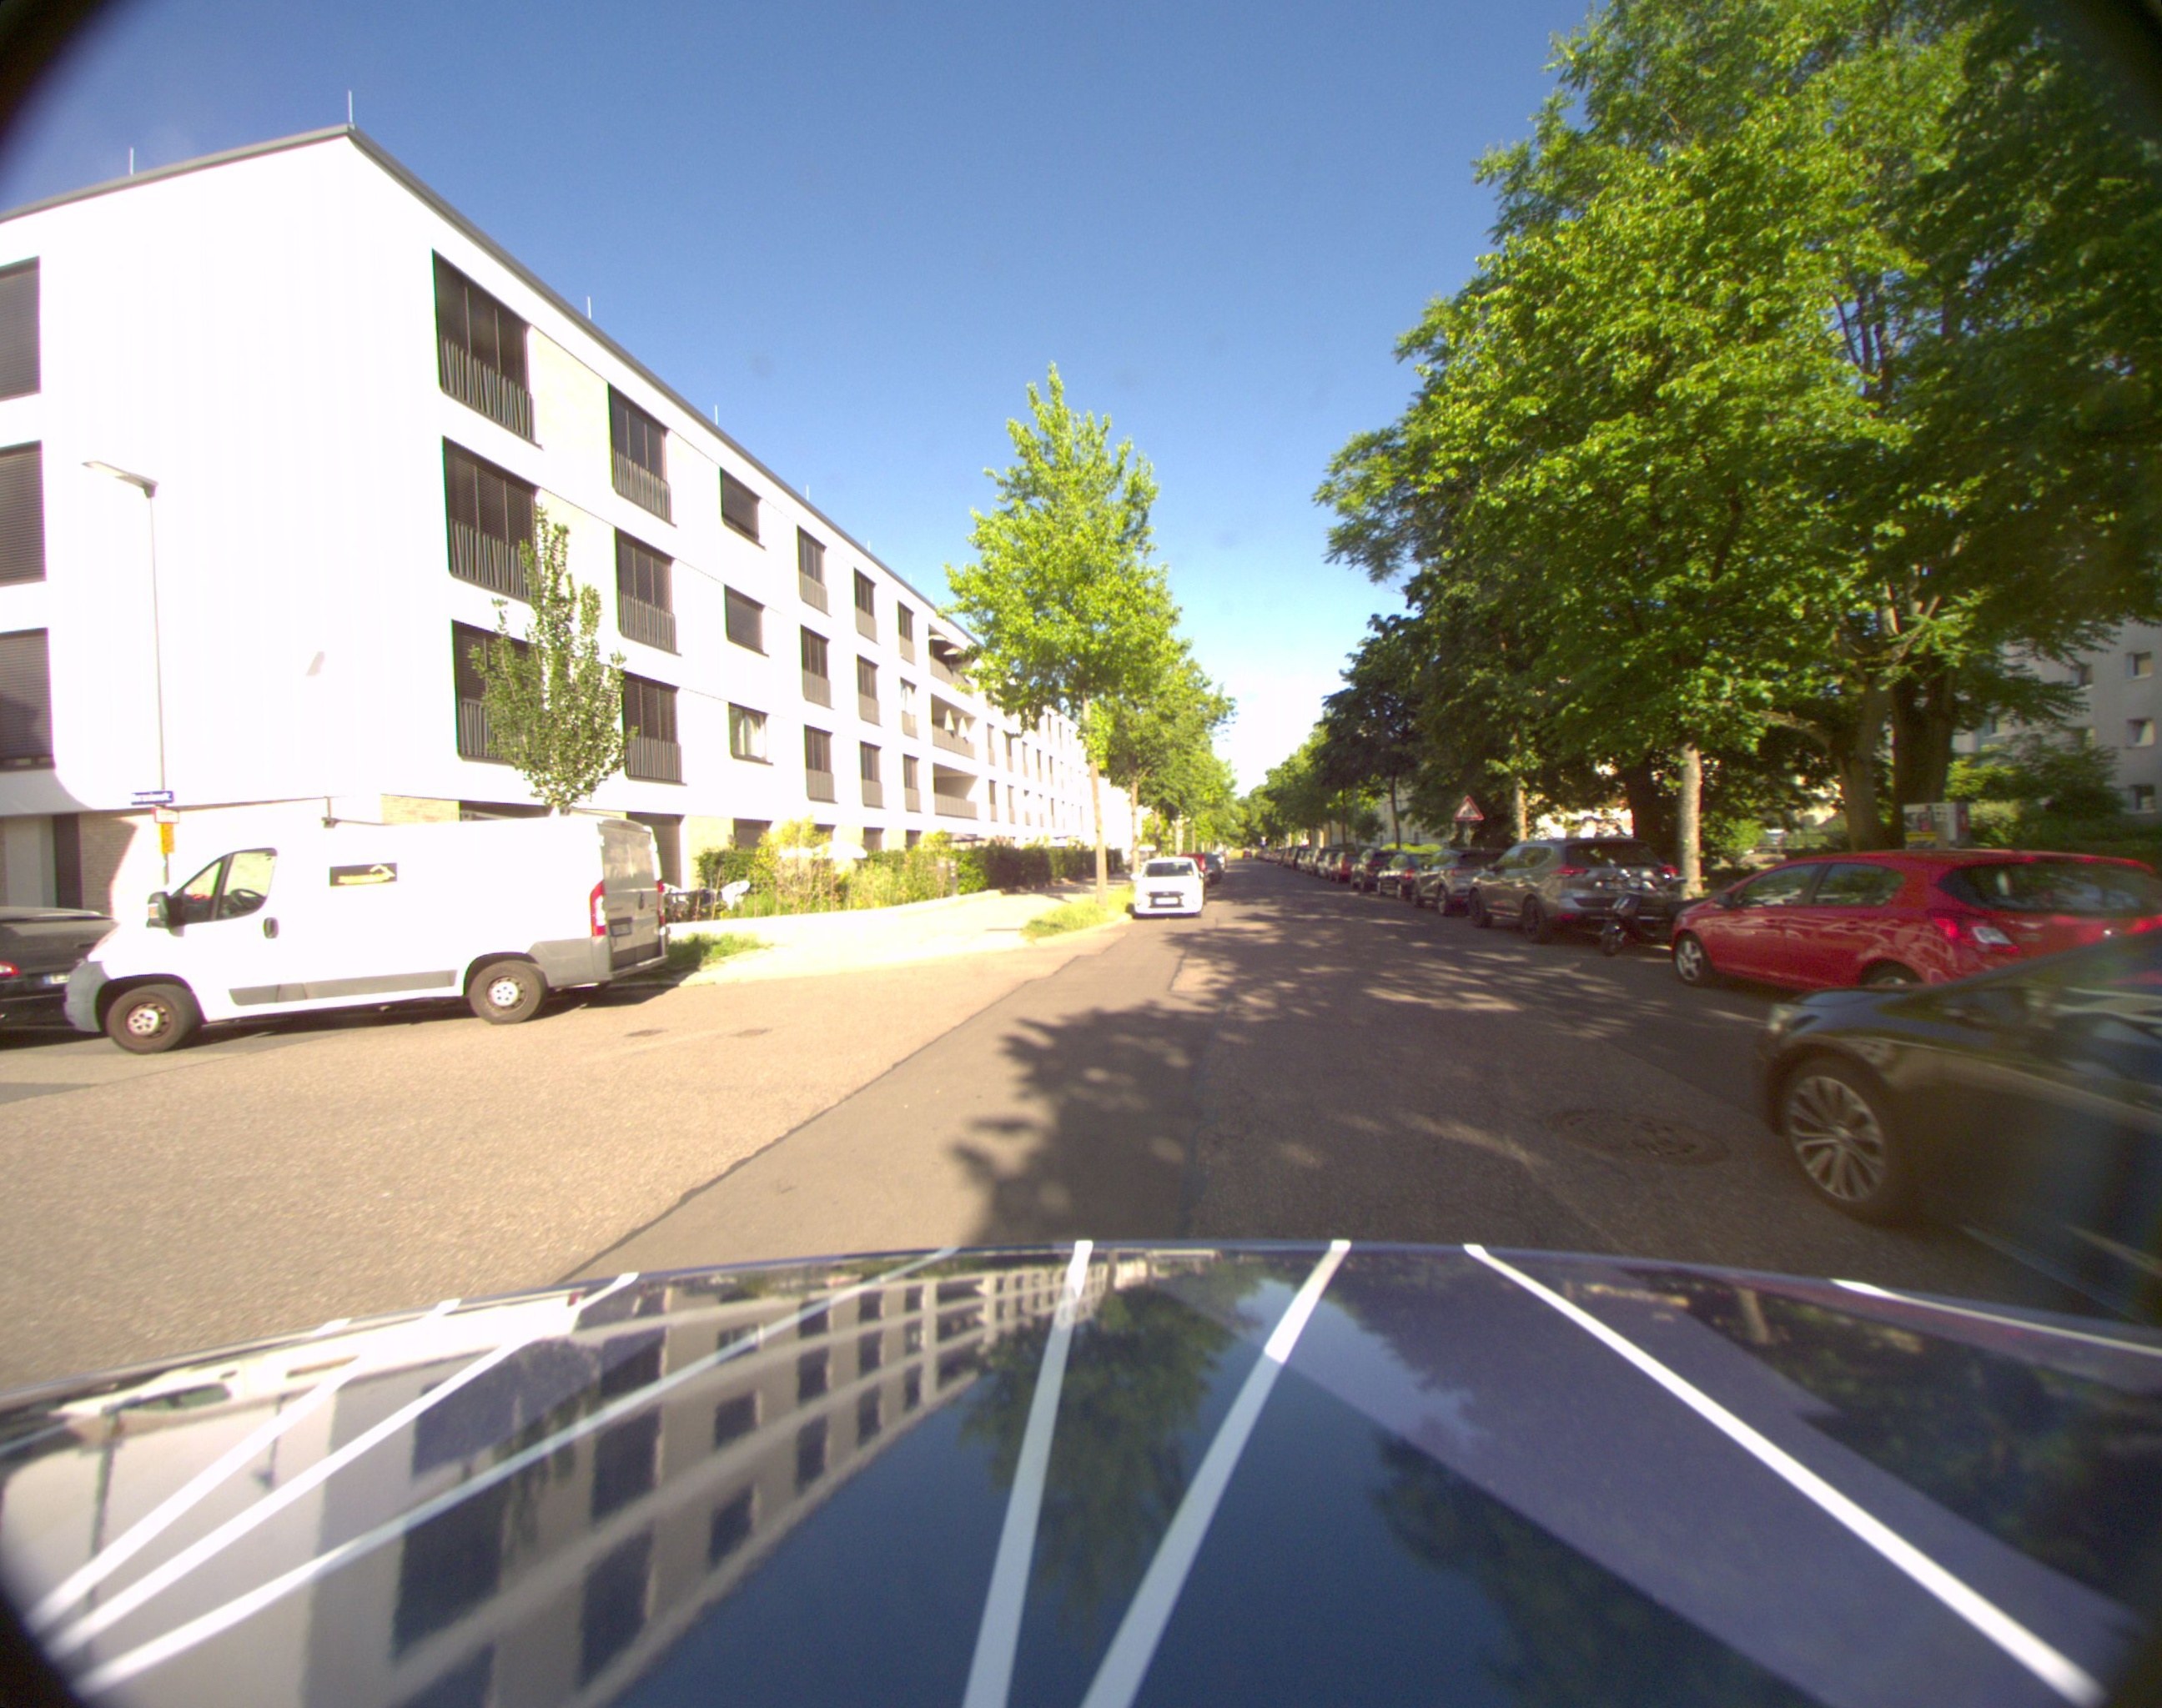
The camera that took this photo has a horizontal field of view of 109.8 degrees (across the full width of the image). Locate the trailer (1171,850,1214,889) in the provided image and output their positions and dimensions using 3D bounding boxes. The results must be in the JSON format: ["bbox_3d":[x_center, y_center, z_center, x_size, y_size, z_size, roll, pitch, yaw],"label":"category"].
[{"bbox_3d":[5.132,0.684,34.635,1.577,1.569,3.195,-4,0,13],"label":"trailer"}]

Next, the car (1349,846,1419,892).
[{"bbox_3d":[11.281,0.520,28.553,1.708,1.568,4.485,-1,0,12],"label":"car"}]

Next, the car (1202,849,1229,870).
[{"bbox_3d":[10.461,0.422,59.170,1.784,1.509,4.690,-3,0,7],"label":"car"}]

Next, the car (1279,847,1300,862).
[{"bbox_3d":[21.080,0.032,76.811,1.778,1.462,4.067,1,1,11],"label":"car"}]

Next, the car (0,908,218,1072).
[{"bbox_3d":[-12.812,1.446,8.351,4.936,1.461,2.049,-2,0,9],"label":"car"}]

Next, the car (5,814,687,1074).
[{"bbox_3d":[-7.586,0.804,8.605,5.058,2.292,2.232,-2,1,-12],"label":"car"}]

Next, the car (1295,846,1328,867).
[{"bbox_3d":[16.765,0.146,55.510,1.796,1.443,4.492,-1,0,10],"label":"car"}]

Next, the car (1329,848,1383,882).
[{"bbox_3d":[12.786,0.468,35.563,1.657,1.496,4.071,-1,0,10],"label":"car"}]

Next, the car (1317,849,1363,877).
[{"bbox_3d":[13.652,0.460,40.210,1.657,1.365,4.192,-1,0,10],"label":"car"}]

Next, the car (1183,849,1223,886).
[{"bbox_3d":[6.340,0.639,39.160,1.795,1.633,4.822,-4,0,11],"label":"car"}]

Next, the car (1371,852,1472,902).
[{"bbox_3d":[10.372,0.632,23.488,1.788,1.344,4.484,-1,0,10],"label":"car"}]

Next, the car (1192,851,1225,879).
[{"bbox_3d":[7.619,0.615,45.209,1.721,1.507,4.348,-3,0,12],"label":"car"}]

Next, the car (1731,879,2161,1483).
[{"bbox_3d":[3.490,0.856,1.171,1.812,1.437,4.369,0,1,10],"label":"car"}]

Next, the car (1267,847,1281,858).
[{"bbox_3d":[25.860,-0.196,101.845,1.604,1.382,3.815,-2,0,11],"label":"car"}]

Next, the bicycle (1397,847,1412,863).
[{"bbox_3d":[22.700,0.049,53.306,0.573,1.055,1.935,-2,1,12],"label":"bicycle"}]

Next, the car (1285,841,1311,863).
[{"bbox_3d":[18.838,-0.185,66.075,1.796,1.839,4.870,-1,0,11],"label":"car"}]

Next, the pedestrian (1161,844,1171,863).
[{"bbox_3d":[9.275,-0.026,82.678,0.907,2.002,1.007,-1,1,12],"label":"pedestrian"}]

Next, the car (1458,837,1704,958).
[{"bbox_3d":[8.171,0.590,13.041,1.771,1.678,4.817,-1,0,10],"label":"car"}]

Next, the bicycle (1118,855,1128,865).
[{"bbox_3d":[3.781,0.535,68.136,0.564,0.889,1.611,-2,0,12],"label":"bicycle"}]

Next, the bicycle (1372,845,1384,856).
[{"bbox_3d":[25.714,-0.275,65.706,0.596,0.911,1.905,-1,1,10],"label":"bicycle"}]

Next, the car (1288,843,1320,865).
[{"bbox_3d":[17.860,-0.006,61.110,1.797,1.676,4.529,-1,0,8],"label":"car"}]

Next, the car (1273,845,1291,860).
[{"bbox_3d":[23.358,-0.237,88.375,1.862,1.718,4.003,0,1,12],"label":"car"}]

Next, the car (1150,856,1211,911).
[{"bbox_3d":[3.264,0.876,24.396,1.673,1.442,4.182,-4,0,10],"label":"car"}]

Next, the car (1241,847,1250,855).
[{"bbox_3d":[30.700,-0.609,141.921,1.664,1.456,3.450,-1,1,13],"label":"car"}]

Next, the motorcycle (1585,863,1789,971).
[{"bbox_3d":[7.943,0.804,10.072,1.955,1.324,0.788,-1,1,19],"label":"motorcycle"}]

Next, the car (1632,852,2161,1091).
[{"bbox_3d":[7.111,0.750,6.866,1.859,1.461,4.185,-2,0,11],"label":"car"}]

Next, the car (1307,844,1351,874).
[{"bbox_3d":[14.723,0.273,45.380,1.845,1.647,5.091,-1,0,11],"label":"car"}]

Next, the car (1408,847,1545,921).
[{"bbox_3d":[9.247,0.623,18.171,1.772,1.522,4.423,-2,0,12],"label":"car"}]

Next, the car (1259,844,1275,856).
[{"bbox_3d":[29.013,-0.597,118.492,1.889,1.797,3.917,-2,0,7],"label":"car"}]

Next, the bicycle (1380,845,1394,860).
[{"bbox_3d":[24.074,-0.112,59.823,0.596,1.183,2.262,-1,1,10],"label":"bicycle"}]

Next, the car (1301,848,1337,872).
[{"bbox_3d":[15.792,0.342,50.581,1.709,1.472,4.493,-1,0,10],"label":"car"}]

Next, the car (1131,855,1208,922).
[{"bbox_3d":[2.405,0.827,19.901,1.736,1.478,4.012,-3,0,9],"label":"car"}]
